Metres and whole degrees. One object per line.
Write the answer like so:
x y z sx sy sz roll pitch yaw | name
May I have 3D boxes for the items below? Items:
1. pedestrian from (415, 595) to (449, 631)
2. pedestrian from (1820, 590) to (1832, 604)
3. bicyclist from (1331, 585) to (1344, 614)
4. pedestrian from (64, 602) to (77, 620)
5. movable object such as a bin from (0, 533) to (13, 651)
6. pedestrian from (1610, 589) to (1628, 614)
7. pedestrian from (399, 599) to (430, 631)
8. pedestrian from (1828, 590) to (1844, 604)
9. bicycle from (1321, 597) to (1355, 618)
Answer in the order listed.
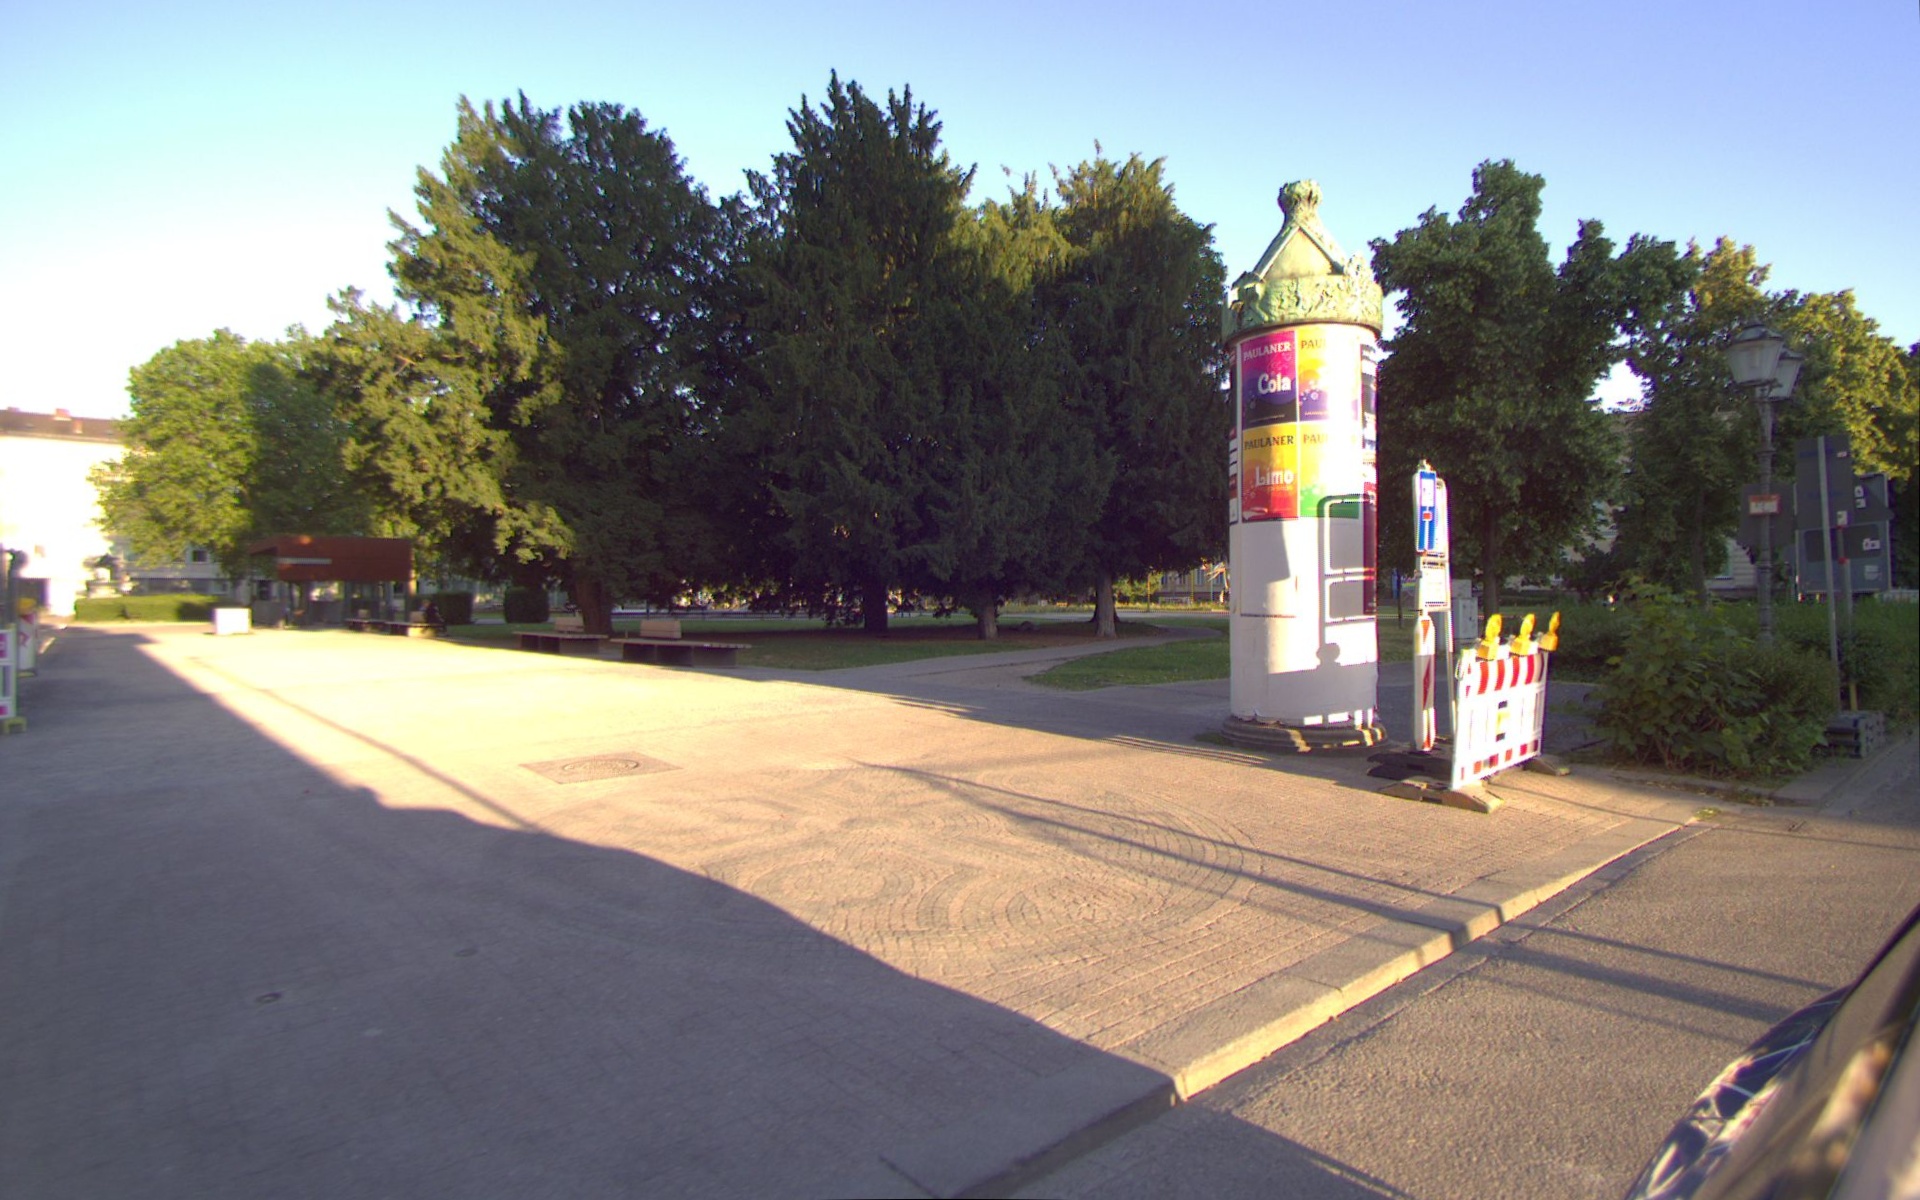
-18.646 0.443 35.753 0.707 1.268 0.912 0 0 44 | pedestrian
66.865 -0.242 78.157 0.595 1.064 0.394 0 0 13 | pedestrian
21.701 -0.025 58.170 0.667 1.653 0.656 0 0 15 | bicyclist
-78.387 0.948 89.207 0.834 1.616 0.644 0 0 -42 | pedestrian
-26.458 -0.211 26.614 1.965 3.046 4.897 0 0 -40 | movable object such as a bin
44.652 0.110 68.581 0.744 1.646 0.857 0 0 -43 | pedestrian
-19.511 0.535 36.198 0.707 1.106 0.821 0 0 44 | pedestrian
67.906 -0.216 78.443 0.785 1.064 0.394 0 0 13 | pedestrian
21.703 0.417 58.163 1.749 1.191 0.563 0 0 15 | bicycle
